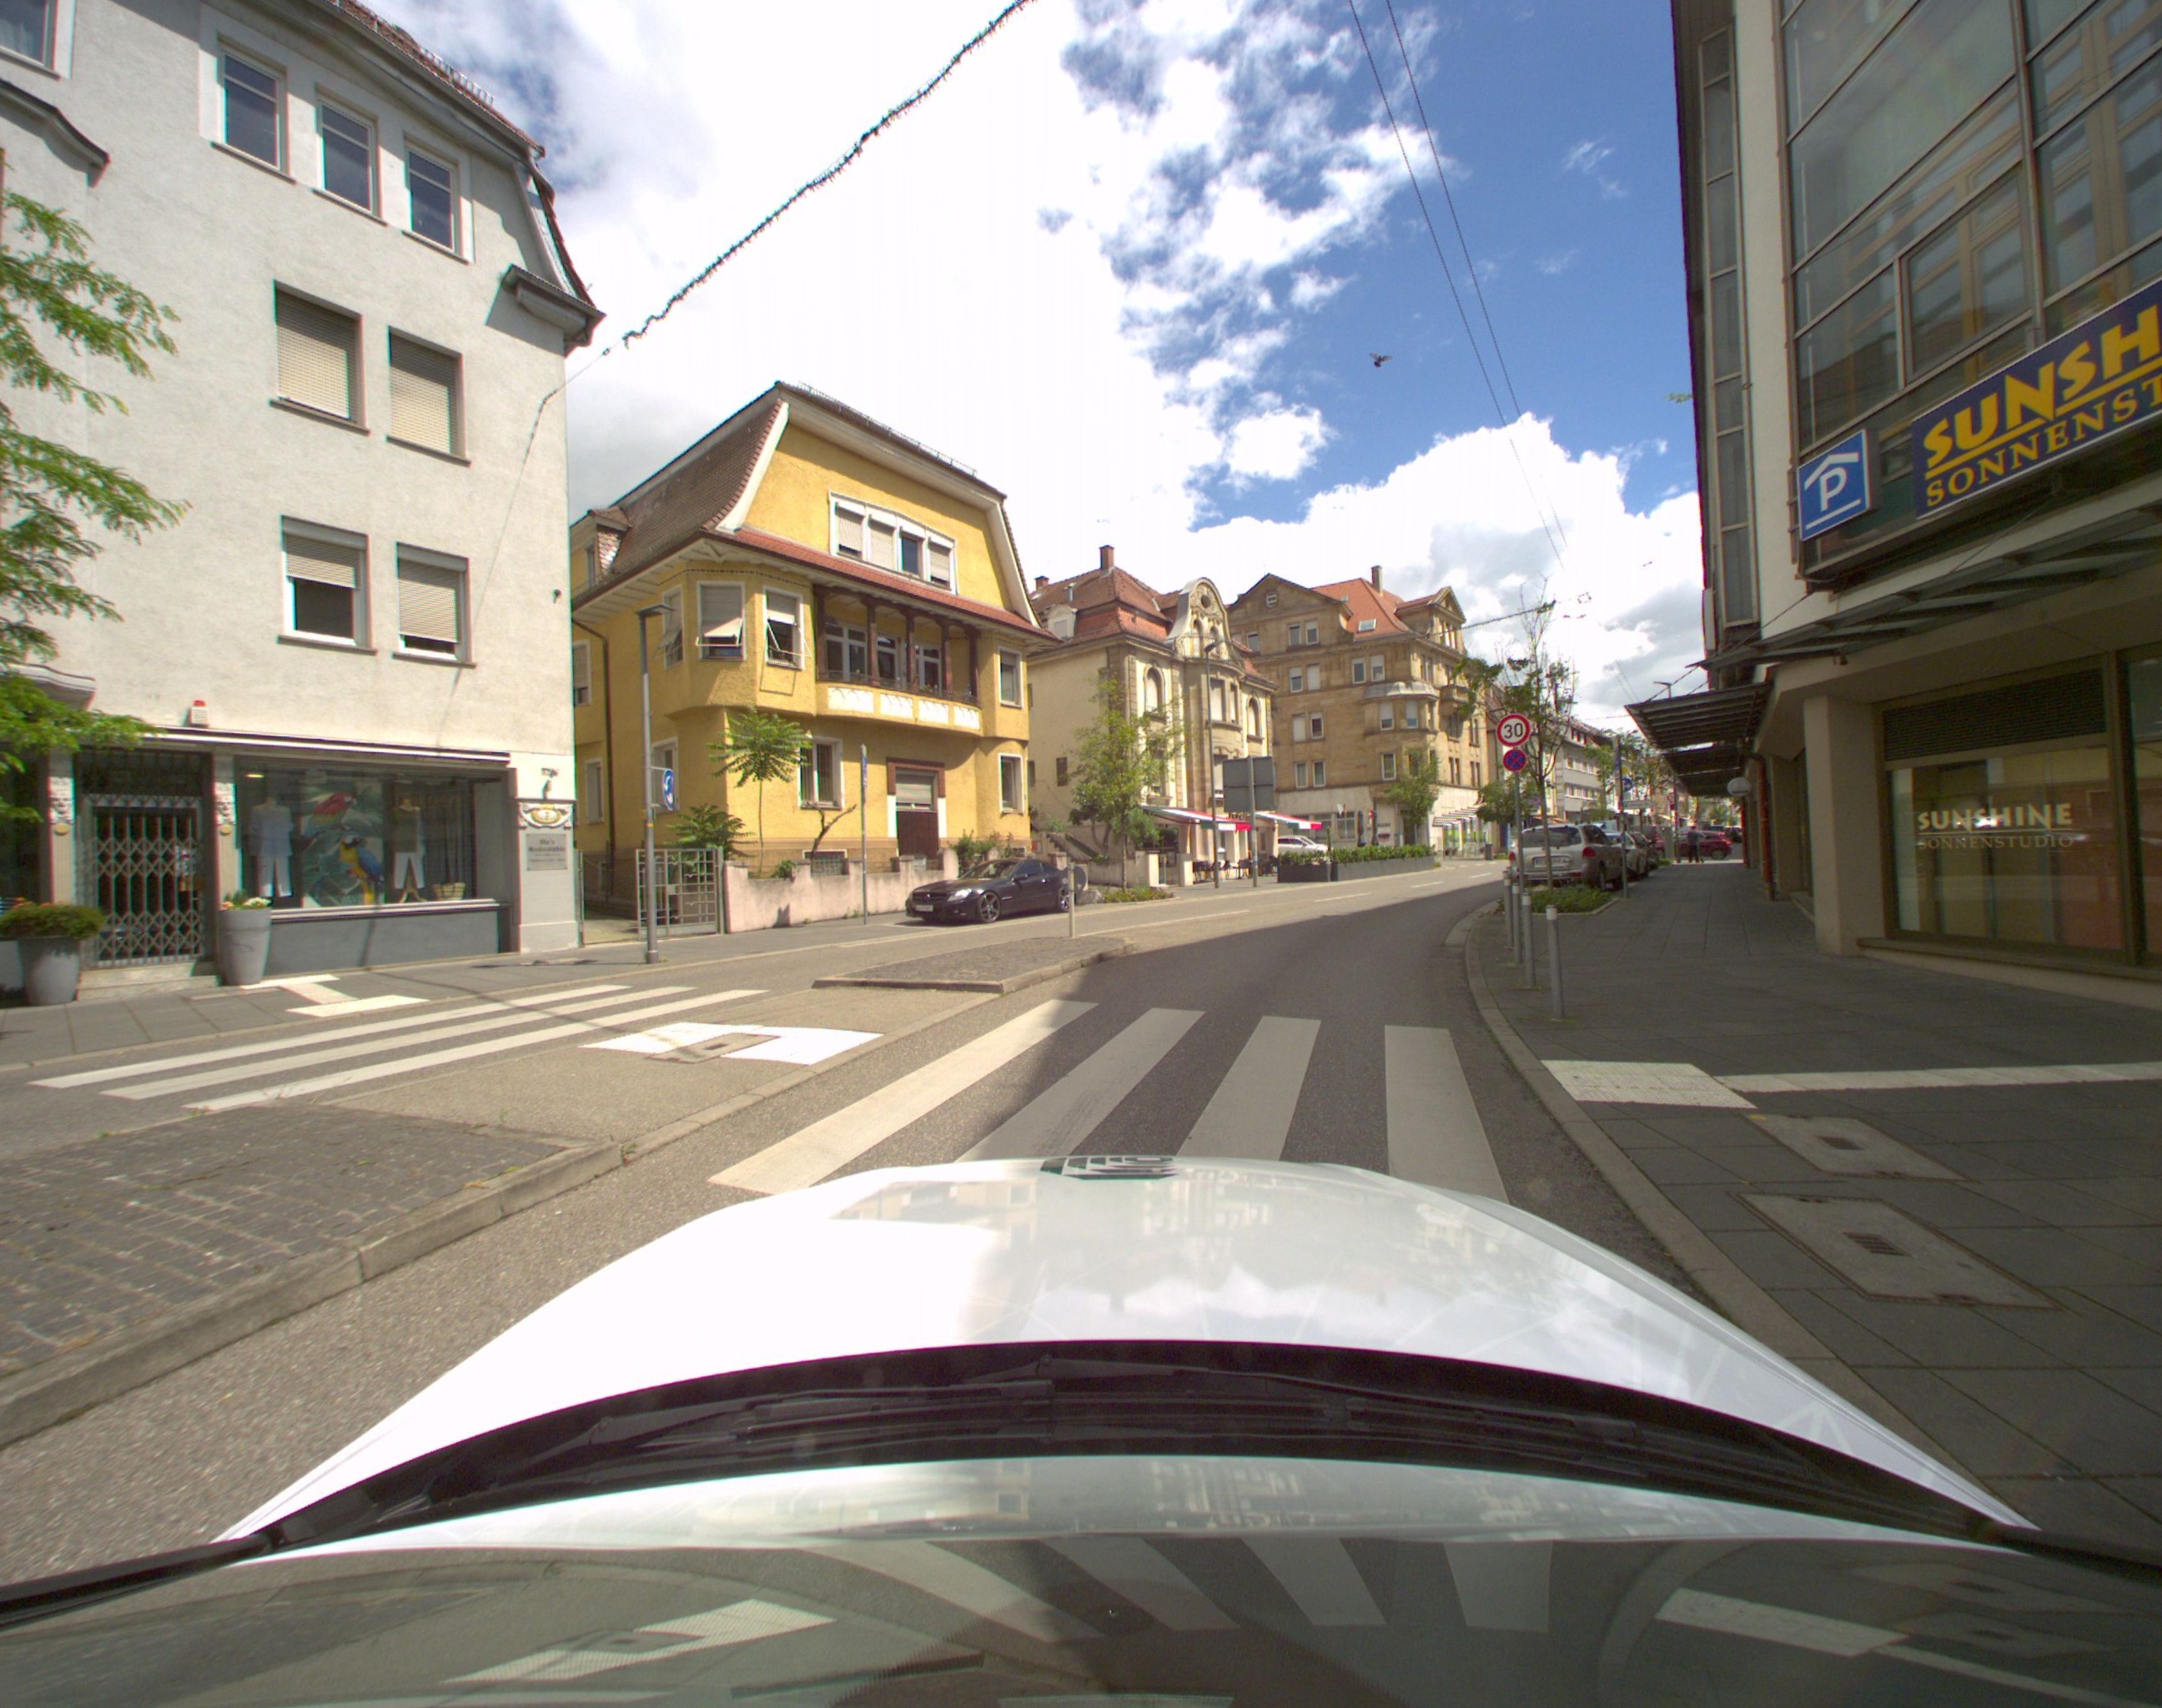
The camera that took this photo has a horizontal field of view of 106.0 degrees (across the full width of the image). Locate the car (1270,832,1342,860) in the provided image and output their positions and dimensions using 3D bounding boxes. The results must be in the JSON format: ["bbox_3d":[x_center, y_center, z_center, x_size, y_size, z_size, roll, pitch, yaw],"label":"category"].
[{"bbox_3d":[14.434,-0.518,52.282,3.948,1.662,1.921,-2,0,35],"label":"car"}]

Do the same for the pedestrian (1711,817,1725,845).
[{"bbox_3d":[47.436,-1.720,60.645,0.676,2.013,0.602,-1,0,44],"label":"pedestrian"}]

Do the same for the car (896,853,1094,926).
[{"bbox_3d":[-1.753,0.681,17.931,1.693,1.245,4.440,1,3,39],"label":"car"}]

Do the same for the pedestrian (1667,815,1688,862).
[{"bbox_3d":[25.999,-0.686,35.523,0.682,2.013,0.728,-2,0,35],"label":"pedestrian"}]

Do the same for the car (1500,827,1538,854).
[{"bbox_3d":[29.563,-0.948,54.873,1.693,1.712,4.026,-2,1,36],"label":"car"}]

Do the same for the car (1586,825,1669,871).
[{"bbox_3d":[19.887,-0.248,29.572,1.807,1.519,4.259,-4,-1,43],"label":"car"}]

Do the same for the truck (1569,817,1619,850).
[{"bbox_3d":[35.921,-1.471,56.954,2.046,2.165,5.327,-3,0,41],"label":"truck"}]

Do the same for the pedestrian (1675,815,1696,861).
[{"bbox_3d":[26.919,-0.724,36.294,0.682,2.013,0.728,-2,0,35],"label":"pedestrian"}]

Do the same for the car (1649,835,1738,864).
[{"bbox_3d":[31.338,-0.225,41.732,3.586,1.413,1.600,0,1,39],"label":"car"}]

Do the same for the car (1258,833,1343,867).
[{"bbox_3d":[12.568,-0.202,46.682,4.379,1.775,2.011,-2,0,24],"label":"car"}]

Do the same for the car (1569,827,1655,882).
[{"bbox_3d":[15.759,-0.015,24.093,1.605,1.434,4.266,-3,0,40],"label":"car"}]

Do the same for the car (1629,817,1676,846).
[{"bbox_3d":[39.921,-1.615,56.846,1.953,1.875,5.069,-3,0,42],"label":"car"}]

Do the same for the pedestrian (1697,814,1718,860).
[{"bbox_3d":[27.658,-0.747,35.965,0.682,2.013,0.728,-2,0,35],"label":"pedestrian"}]

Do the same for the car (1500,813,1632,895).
[{"bbox_3d":[11.665,-0.018,19.453,1.807,1.731,4.259,-4,-1,43],"label":"car"}]
